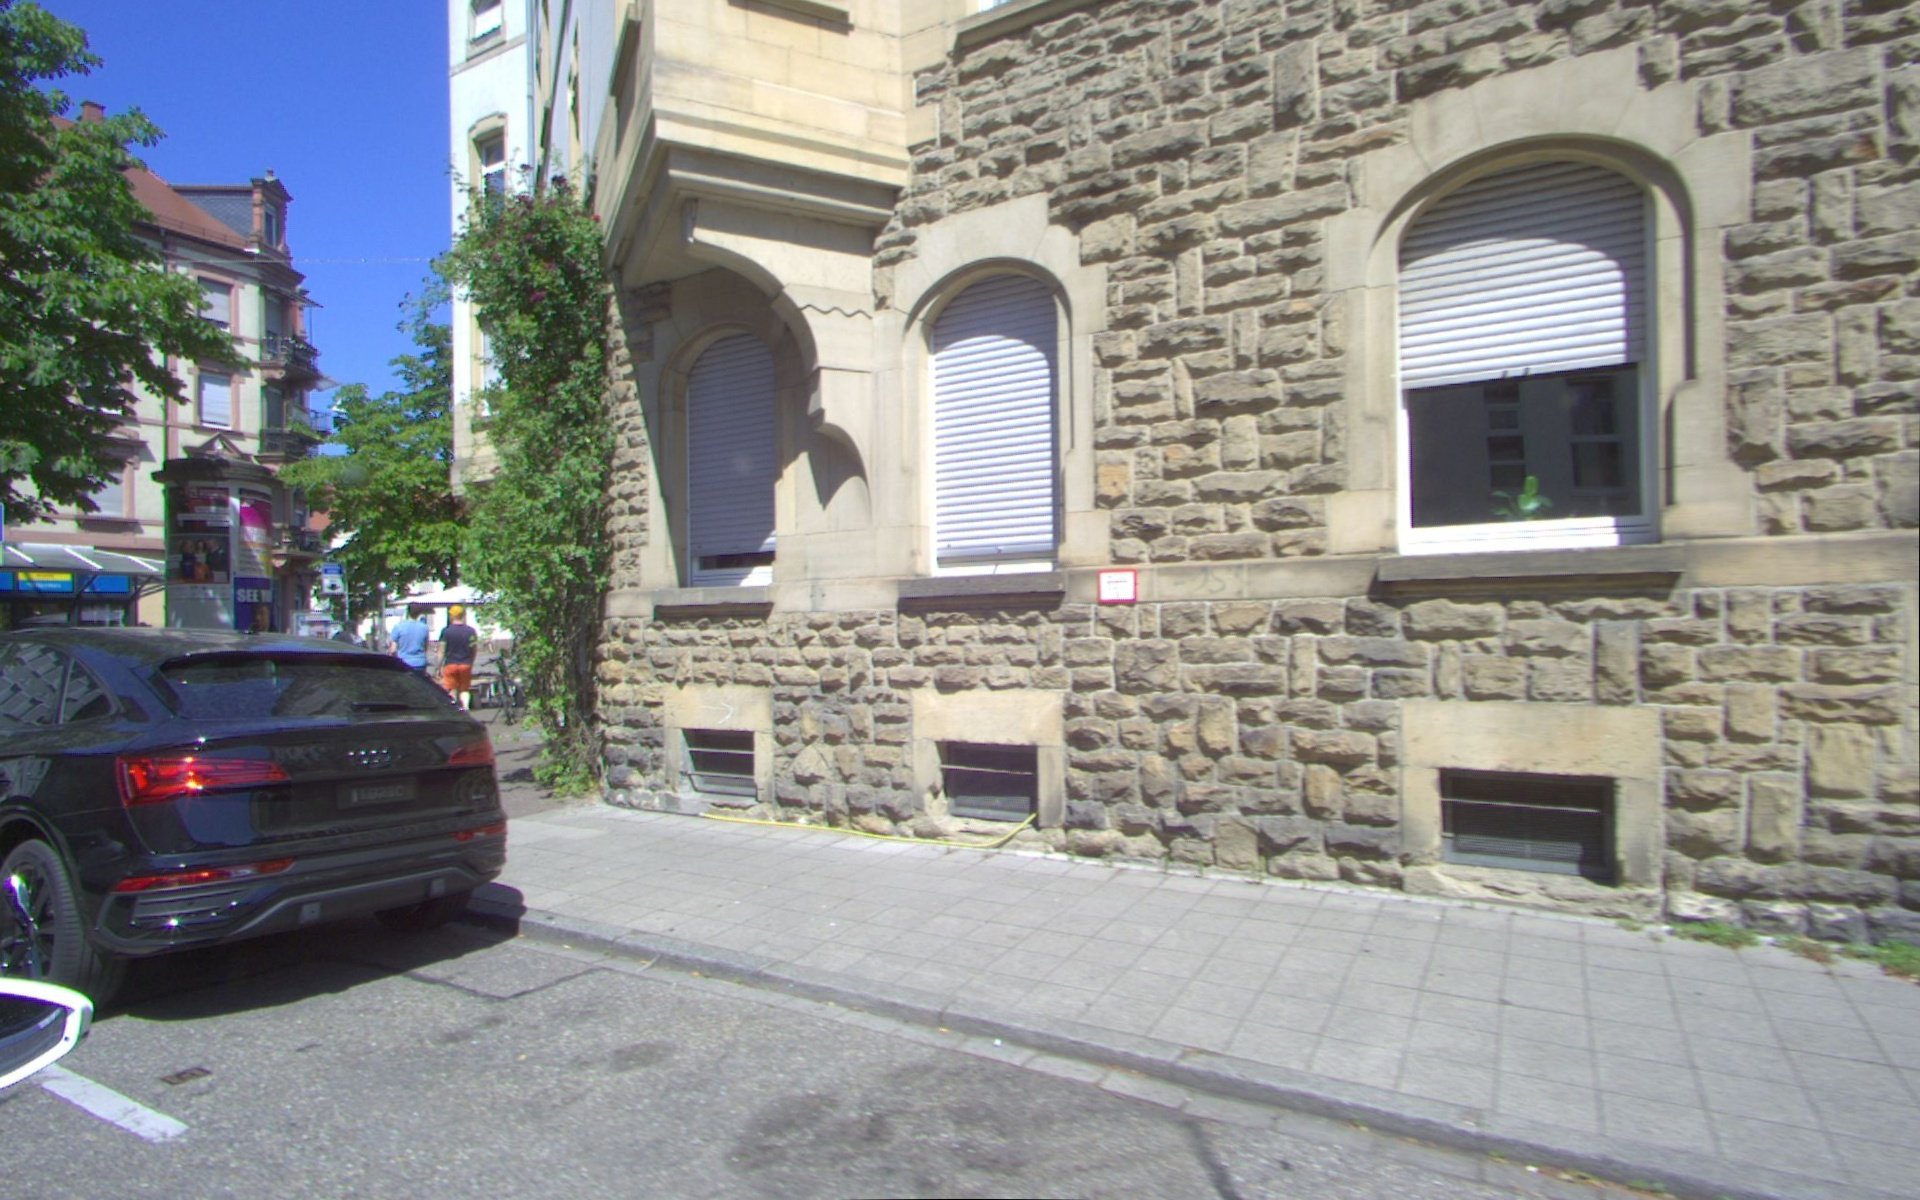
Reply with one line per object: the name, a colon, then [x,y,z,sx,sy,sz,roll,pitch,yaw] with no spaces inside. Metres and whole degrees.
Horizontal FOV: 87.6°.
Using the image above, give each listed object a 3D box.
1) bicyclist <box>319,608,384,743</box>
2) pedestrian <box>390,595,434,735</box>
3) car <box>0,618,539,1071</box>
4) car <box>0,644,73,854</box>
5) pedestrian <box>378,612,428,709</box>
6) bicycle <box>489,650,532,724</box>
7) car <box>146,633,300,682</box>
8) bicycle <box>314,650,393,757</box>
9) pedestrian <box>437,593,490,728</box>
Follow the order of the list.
bicyclist: [-7.810,0.950,12.869,0.670,1.669,0.658,-1,-1,-31]
pedestrian: [-7.631,0.897,13.954,0.512,1.892,0.651,0,-1,-28]
car: [-4.461,0.977,5.399,4.281,1.616,1.735,-2,-4,28]
car: [-9.132,1.141,8.159,4.117,1.559,1.662,-2,-4,31]
pedestrian: [-10.657,1.143,19.186,0.572,1.817,0.749,-1,0,-8]
bicycle: [-7.166,1.345,15.921,0.541,1.052,1.830,-1,-1,-26]
car: [-25.616,1.958,34.934,1.752,1.525,3.982,-2,-1,29]
bicycle: [-7.869,1.271,12.936,0.785,1.184,2.563,-1,-1,-33]
pedestrian: [-7.283,0.867,14.680,0.593,1.904,0.878,0,-1,-34]
